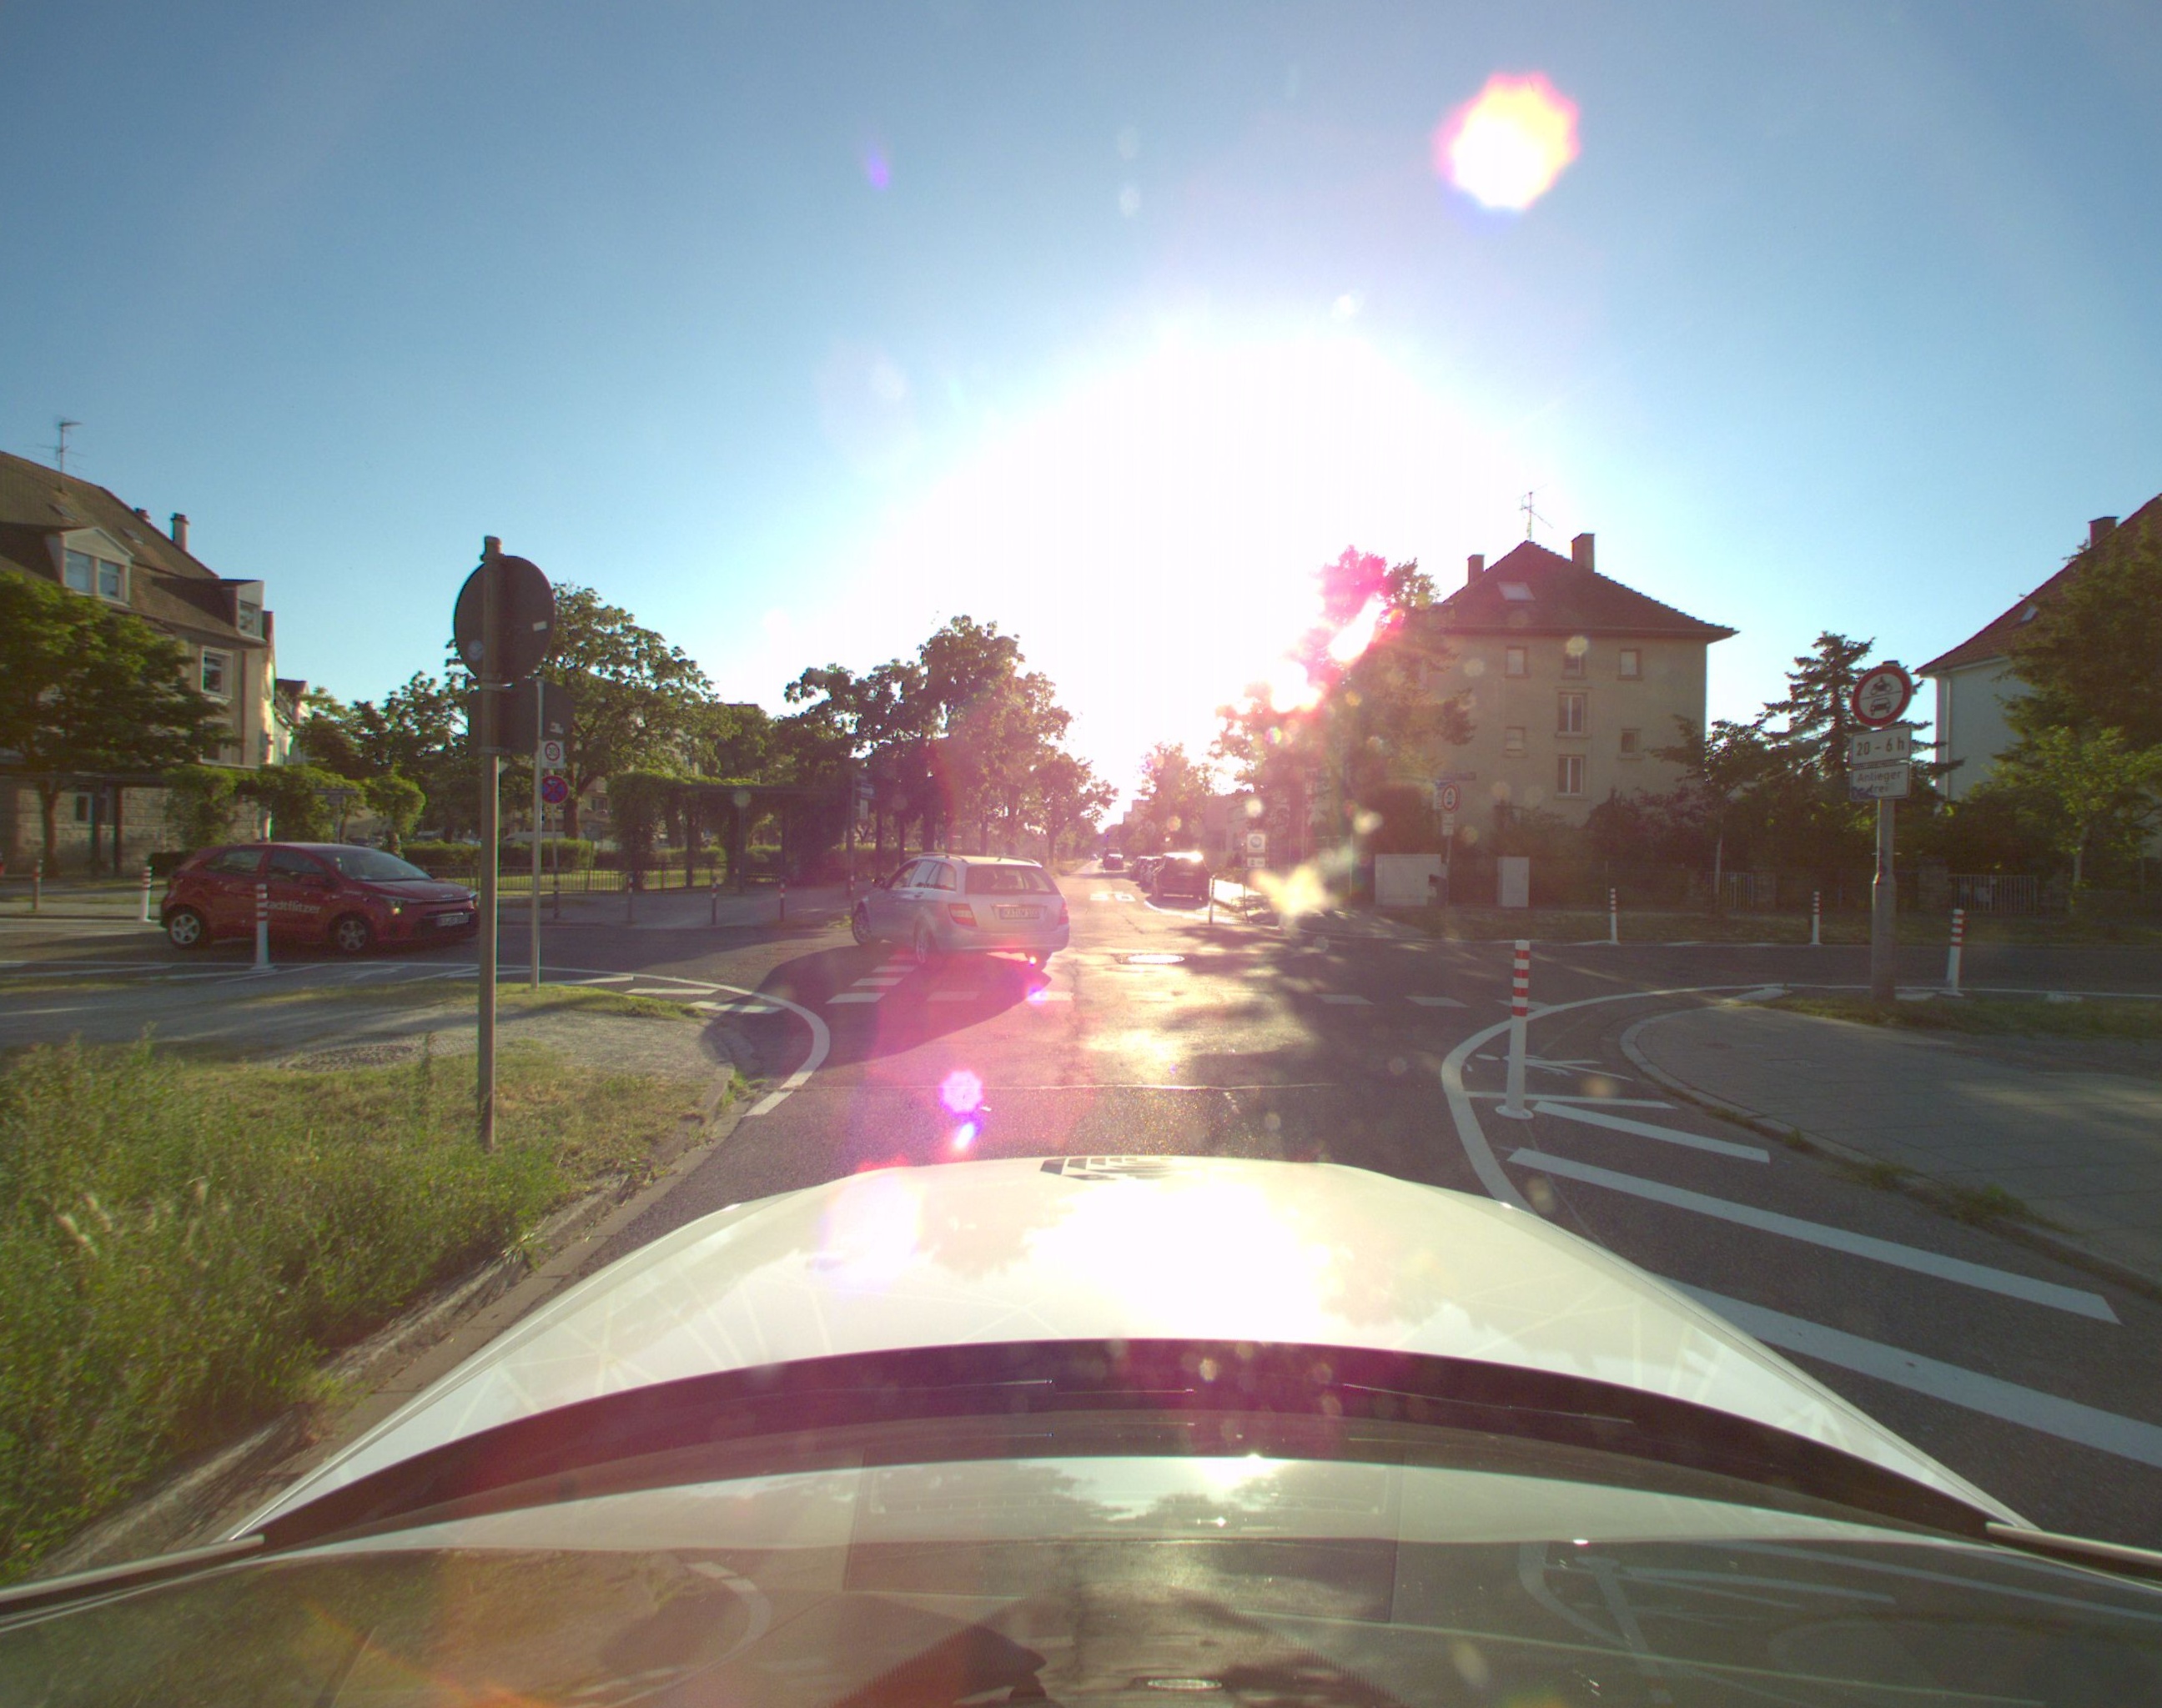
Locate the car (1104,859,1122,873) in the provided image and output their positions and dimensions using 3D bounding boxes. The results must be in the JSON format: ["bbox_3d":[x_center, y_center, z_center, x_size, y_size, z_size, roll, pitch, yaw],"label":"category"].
[{"bbox_3d":[3.593,1.358,91.500,1.725,1.518,3.758,1,0,-1],"label":"car"}]

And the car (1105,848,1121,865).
[{"bbox_3d":[4.045,0.340,104.772,1.986,2.123,4.001,1,0,1],"label":"car"}]

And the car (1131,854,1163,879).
[{"bbox_3d":[4.202,0.803,52.246,1.759,1.526,3.772,0,0,0],"label":"car"}]

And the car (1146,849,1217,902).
[{"bbox_3d":[3.524,0.729,29.274,1.812,1.641,4.213,3,0,-2],"label":"car"}]

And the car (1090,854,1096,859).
[{"bbox_3d":[3.441,0.693,234.535,1.859,1.618,3.999,1,0,0],"label":"car"}]

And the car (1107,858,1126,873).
[{"bbox_3d":[3.736,1.210,87.041,1.752,1.518,3.758,1,0,-1],"label":"car"}]

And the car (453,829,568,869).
[{"bbox_3d":[-41.957,-0.322,60.149,6.706,2.745,2.297,1,0,-29],"label":"car"}]

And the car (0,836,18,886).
[{"bbox_3d":[-38.910,0.206,27.006,1.799,1.741,4.090,3,0,2],"label":"car"}]

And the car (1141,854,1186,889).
[{"bbox_3d":[3.797,0.780,38.135,1.759,1.526,3.772,0,0,0],"label":"car"}]

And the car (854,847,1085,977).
[{"bbox_3d":[-1.770,0.653,11.503,1.828,1.473,4.176,0,0,-29],"label":"car"}]

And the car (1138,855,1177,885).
[{"bbox_3d":[3.998,0.814,43.041,1.724,1.518,3.760,1,0,0],"label":"car"}]

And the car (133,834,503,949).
[{"bbox_3d":[-10.850,0.508,11.774,3.744,1.526,1.772,0,0,3],"label":"car"}]

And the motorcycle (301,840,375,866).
[{"bbox_3d":[-43.627,-0.046,47.864,3.222,1.487,0.850,0,-1,-11],"label":"motorcycle"}]
